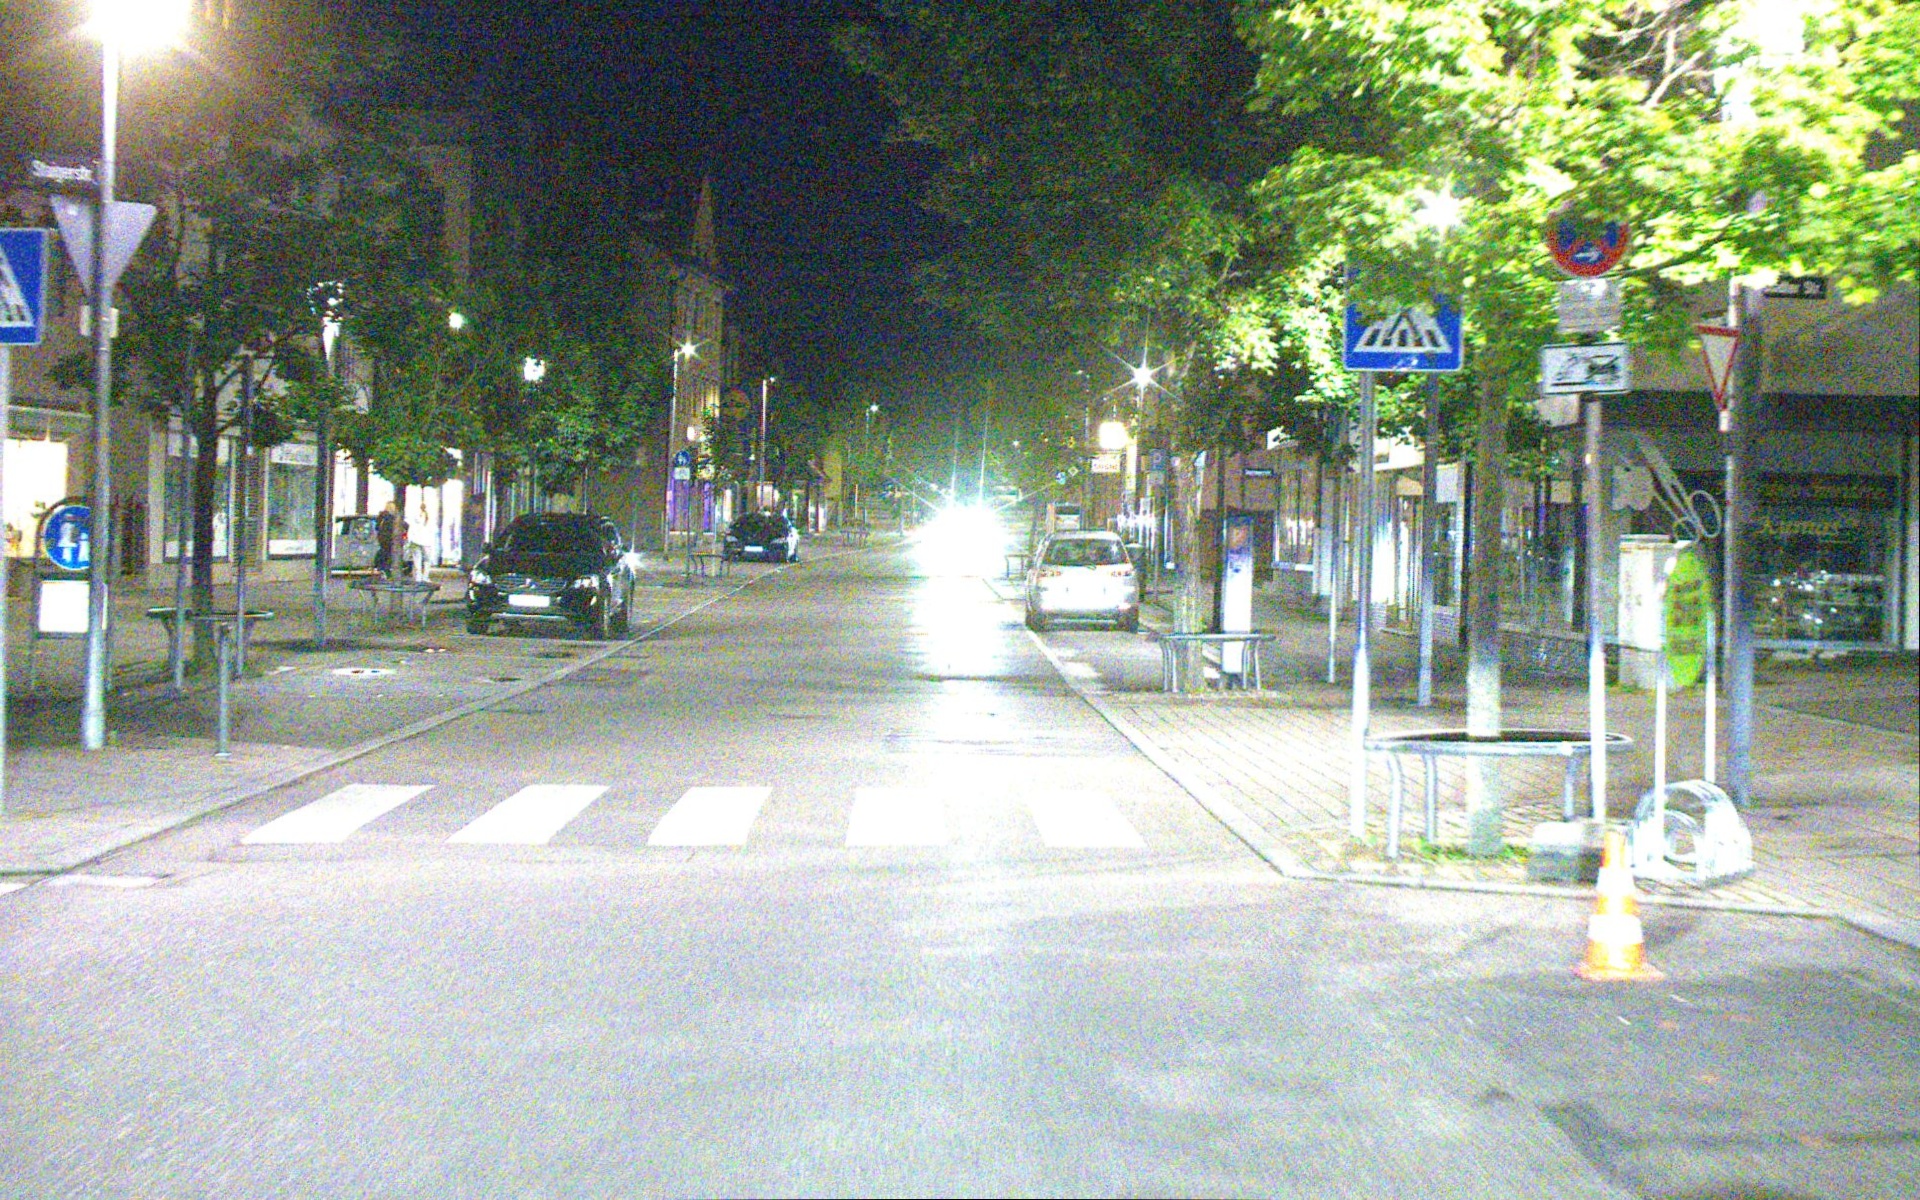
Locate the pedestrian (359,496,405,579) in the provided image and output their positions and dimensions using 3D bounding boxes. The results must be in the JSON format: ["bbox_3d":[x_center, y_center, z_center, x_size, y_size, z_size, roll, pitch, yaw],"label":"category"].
[{"bbox_3d":[-11.735,-1.272,69.785,0.769,1.650,0.817,1,3,1],"label":"pedestrian"}]

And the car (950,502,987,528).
[{"bbox_3d":[0.433,-4.239,170.813,1.723,1.242,4.237,1,2,1],"label":"car"}]

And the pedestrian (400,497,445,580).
[{"bbox_3d":[-10.896,-1.249,69.659,0.769,1.650,0.782,1,3,1],"label":"pedestrian"}]

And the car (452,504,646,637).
[{"bbox_3d":[-5.691,-0.459,48.190,2.018,1.685,5.003,2,1,0],"label":"car"}]

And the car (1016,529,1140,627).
[{"bbox_3d":[1.814,-0.374,53.850,1.674,1.454,3.676,1,1,-2],"label":"car"}]

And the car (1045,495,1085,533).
[{"bbox_3d":[4.738,-3.912,155.605,1.775,1.646,4.364,1,2,1],"label":"car"}]

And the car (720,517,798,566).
[{"bbox_3d":[-5.939,-1.752,102.166,1.914,1.366,4.457,1,2,2],"label":"car"}]

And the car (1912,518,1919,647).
[{"bbox_3d":[10.649,-0.154,32.830,1.804,1.455,4.057,-3,0,-2],"label":"car"}]

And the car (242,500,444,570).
[{"bbox_3d":[-14.044,-1.483,78.405,4.167,1.433,1.841,-2,1,4],"label":"car"}]
